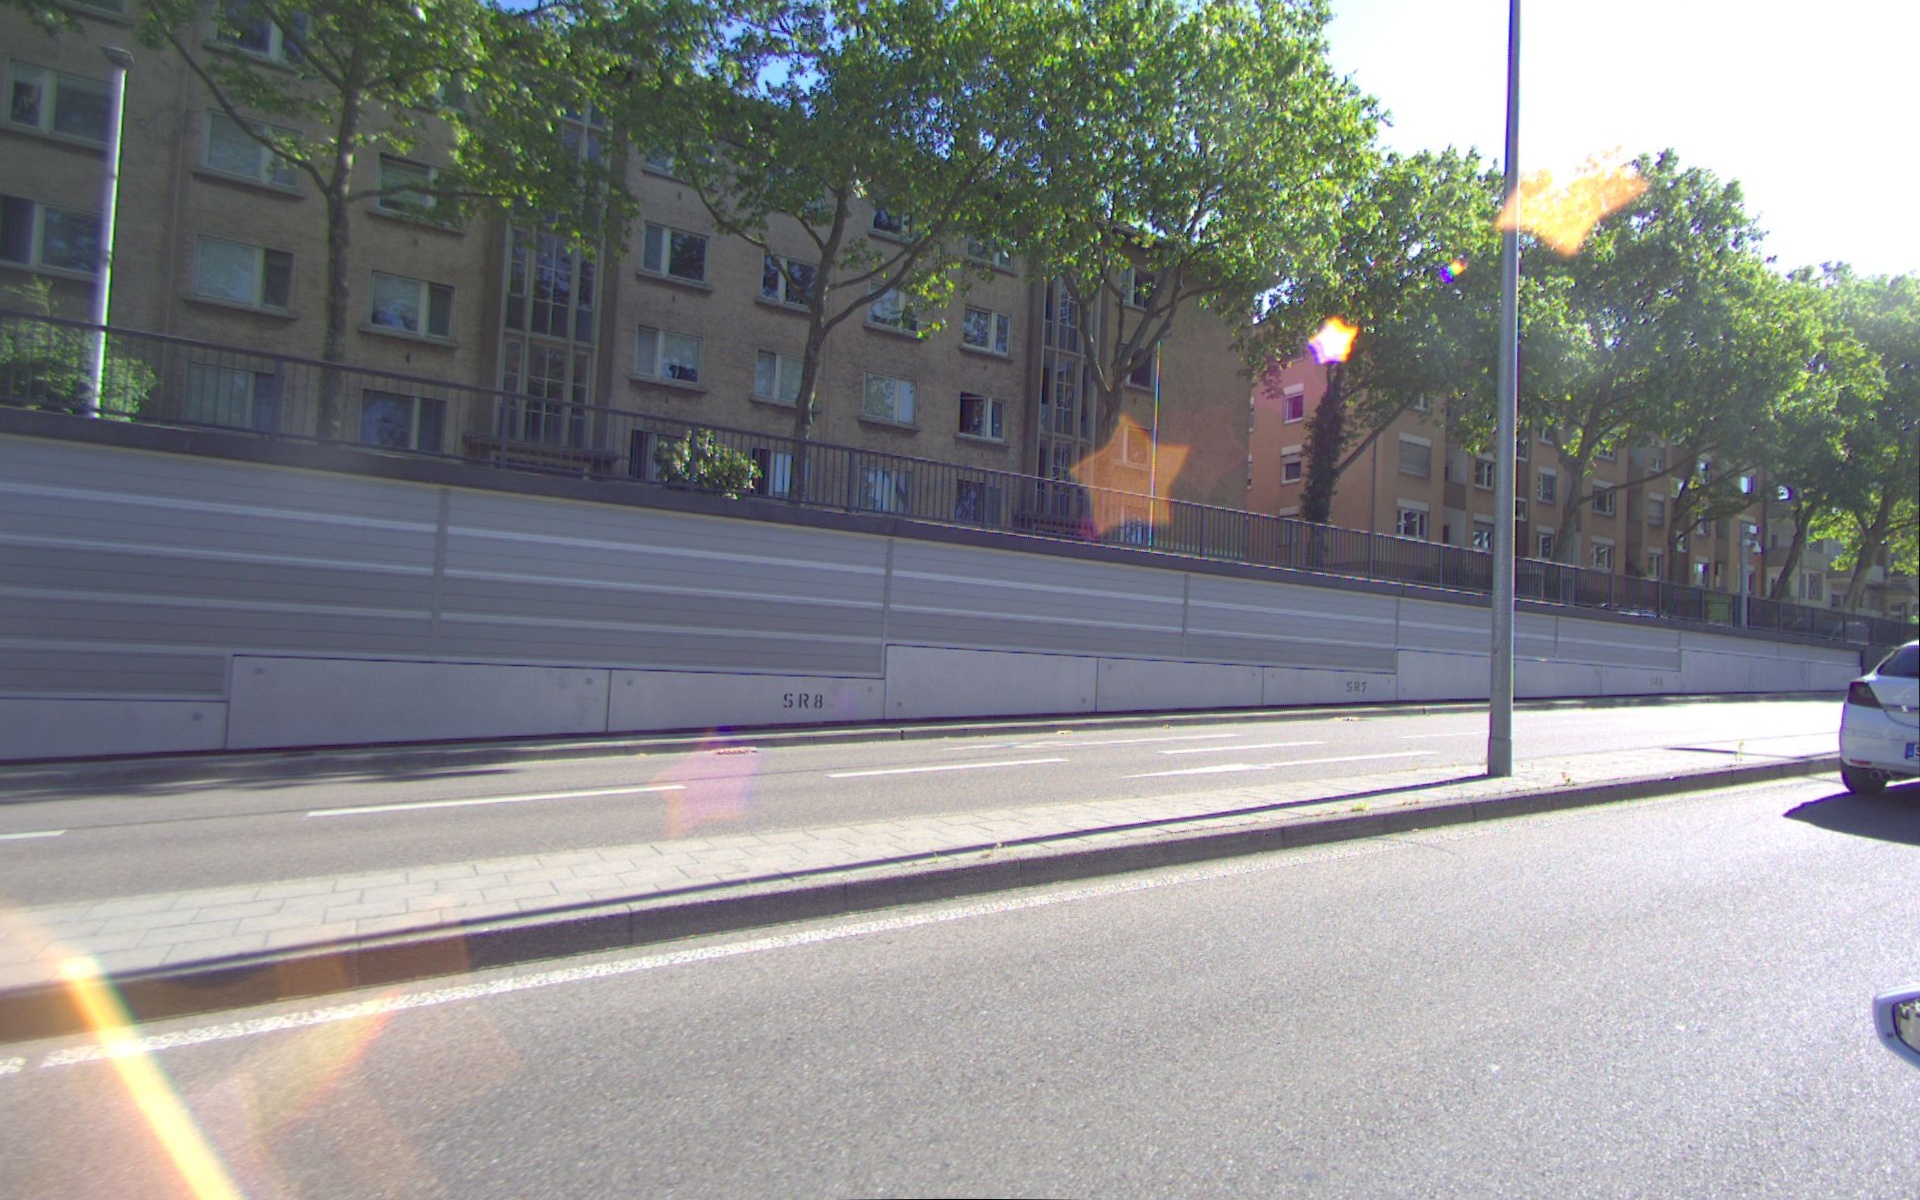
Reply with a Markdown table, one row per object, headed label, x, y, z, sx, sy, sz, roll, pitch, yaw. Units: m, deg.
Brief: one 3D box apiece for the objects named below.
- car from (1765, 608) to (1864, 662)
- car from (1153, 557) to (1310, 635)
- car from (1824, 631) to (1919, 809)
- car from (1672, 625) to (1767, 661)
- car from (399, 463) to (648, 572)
| label | x | y | z | sx | sy | sz | roll | pitch | yaw |
| --- | --- | --- | --- | --- | --- | --- | --- | --- | --- |
| car | 42.624 | 1.742 | 50.087 | 5.354 | 2.390 | 1.985 | 4 | -2 | -29 |
| car | 8.073 | -0.076 | 29.759 | 4.363 | 1.986 | 1.956 | 4 | -2 | -30 |
| car | 9.502 | 1.052 | 8.943 | 3.807 | 1.422 | 1.611 | 3 | -1 | -31 |
| car | 34.241 | 1.929 | 45.249 | 4.124 | 1.407 | 1.984 | 4 | -2 | -30 |
| car | -8.640 | -1.532 | 19.987 | 4.258 | 1.604 | 1.910 | 4 | -2 | -32 |
